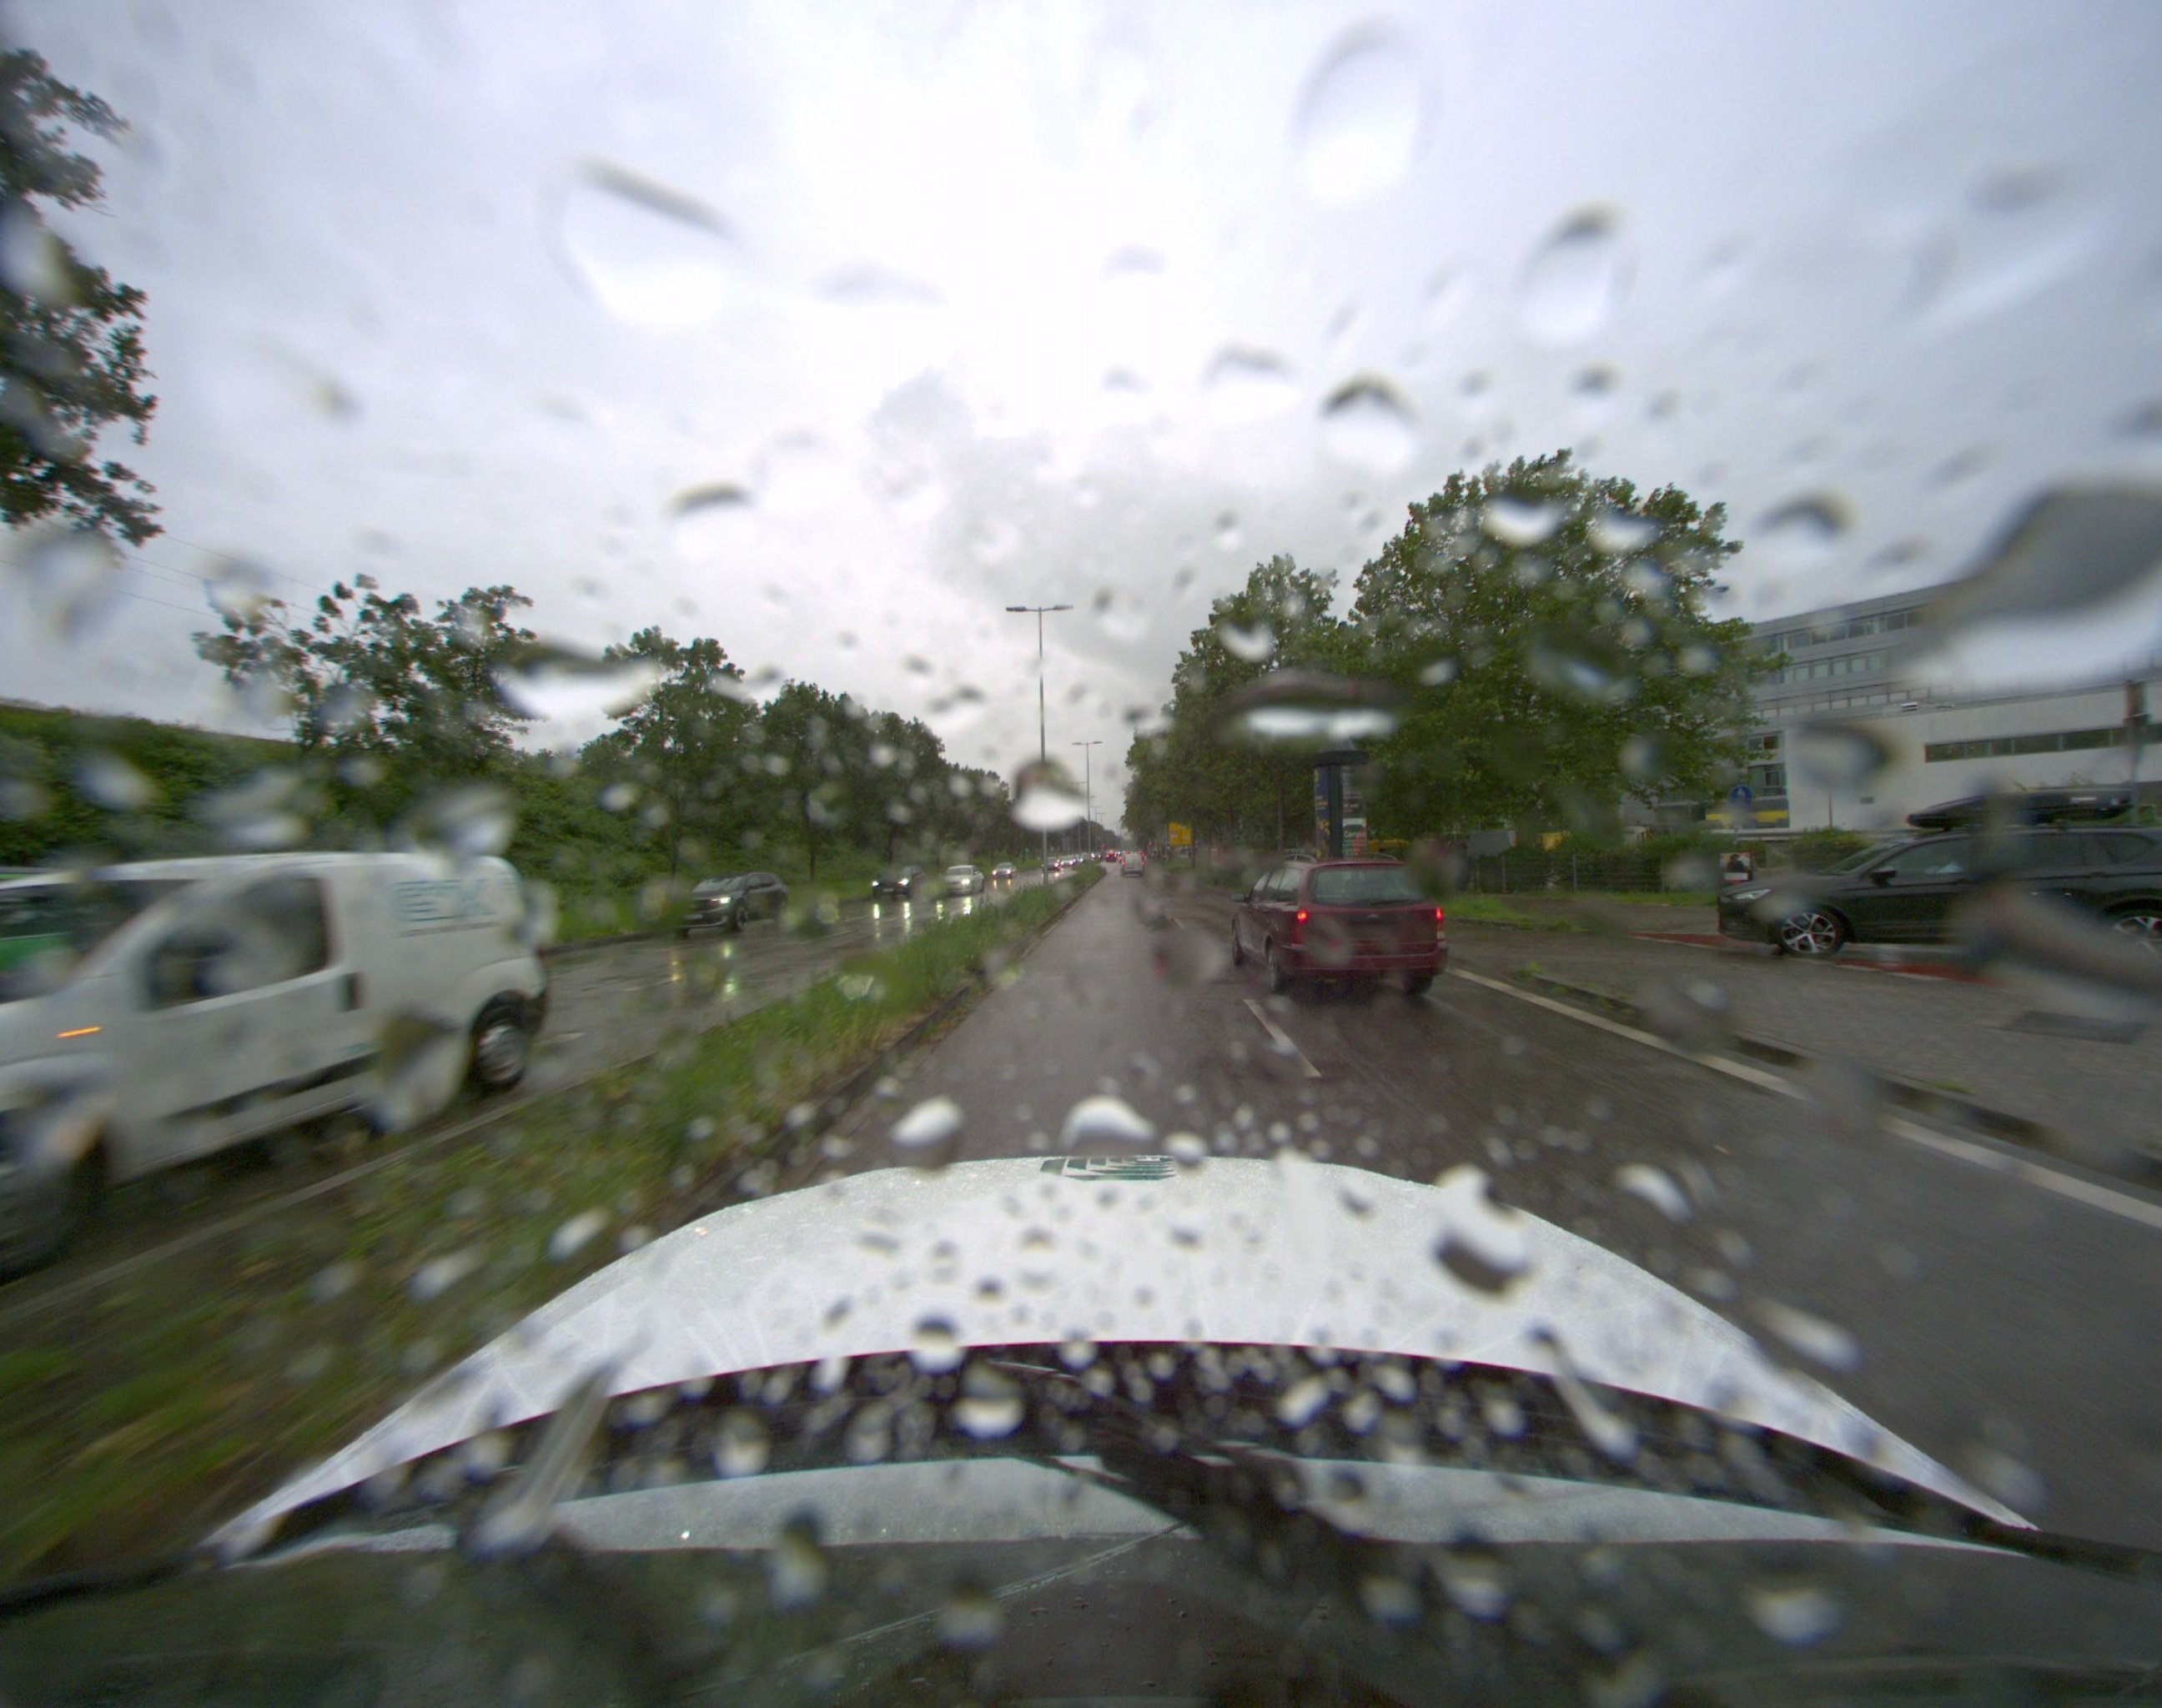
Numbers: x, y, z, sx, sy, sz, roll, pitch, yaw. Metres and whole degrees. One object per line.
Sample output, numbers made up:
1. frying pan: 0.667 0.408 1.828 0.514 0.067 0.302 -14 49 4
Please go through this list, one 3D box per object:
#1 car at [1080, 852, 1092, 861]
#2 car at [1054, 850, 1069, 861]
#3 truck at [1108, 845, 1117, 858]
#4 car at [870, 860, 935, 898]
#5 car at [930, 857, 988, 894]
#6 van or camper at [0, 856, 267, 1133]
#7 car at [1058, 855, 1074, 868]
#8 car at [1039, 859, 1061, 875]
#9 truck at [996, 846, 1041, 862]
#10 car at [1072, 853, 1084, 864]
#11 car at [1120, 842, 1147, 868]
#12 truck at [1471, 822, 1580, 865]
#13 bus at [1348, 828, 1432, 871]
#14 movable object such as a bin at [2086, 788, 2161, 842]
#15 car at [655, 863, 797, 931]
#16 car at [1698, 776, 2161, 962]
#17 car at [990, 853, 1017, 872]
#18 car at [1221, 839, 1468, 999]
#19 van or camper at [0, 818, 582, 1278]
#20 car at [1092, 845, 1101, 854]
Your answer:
1. car: 1.011 0.449 160.319 1.900 1.574 4.713 -4 0 3
2. car: -3.255 0.304 137.647 1.985 1.687 4.713 -3 0 3
3. truck: 6.061 -0.425 157.411 1.750 2.466 4.002 -1 0 2
4. car: -8.881 1.184 40.882 2.029 1.660 4.681 -2 0 2
5. car: -6.073 1.034 41.158 1.891 1.613 4.715 -4 0 2
6. van or camper: -7.883 0.961 4.824 1.694 1.785 4.222 -3 0 2
7. car: -2.050 1.036 112.694 1.891 1.613 4.114 -2 0 2
8. car: -3.399 1.406 91.278 1.890 1.613 4.116 -4 0 4
9. truck: -14.010 0.012 184.461 10.181 3.452 2.630 0 -1 -34
10. car: -0.510 0.765 134.857 1.903 1.574 4.705 -4 0 -2
11. car: 4.199 0.095 65.366 1.986 2.014 4.001 -1 -1 2
12. truck: 33.629 -0.714 61.485 9.537 3.032 3.049 0 -1 -33
13. bus: 20.120 -0.284 53.169 4.771 2.647 2.002 -1 0 4
14. movable object such as a bin: 48.751 -1.778 37.608 3.283 2.355 2.000 -2 0 -21
15. car: -9.847 1.130 23.013 1.891 1.613 4.407 -2 0 2
16. car: 11.157 0.196 10.717 4.694 2.056 1.945 -2 0 35
17. car: -7.159 0.793 75.355 1.891 1.613 4.480 -2 0 2
18. car: 2.896 0.626 9.916 1.832 1.536 4.114 0 0 2
19. van or camper: -4.948 0.788 4.478 1.722 1.742 4.002 -4 0 2
20. car: 3.746 -1.063 193.993 1.816 1.573 4.368 6 7 3
